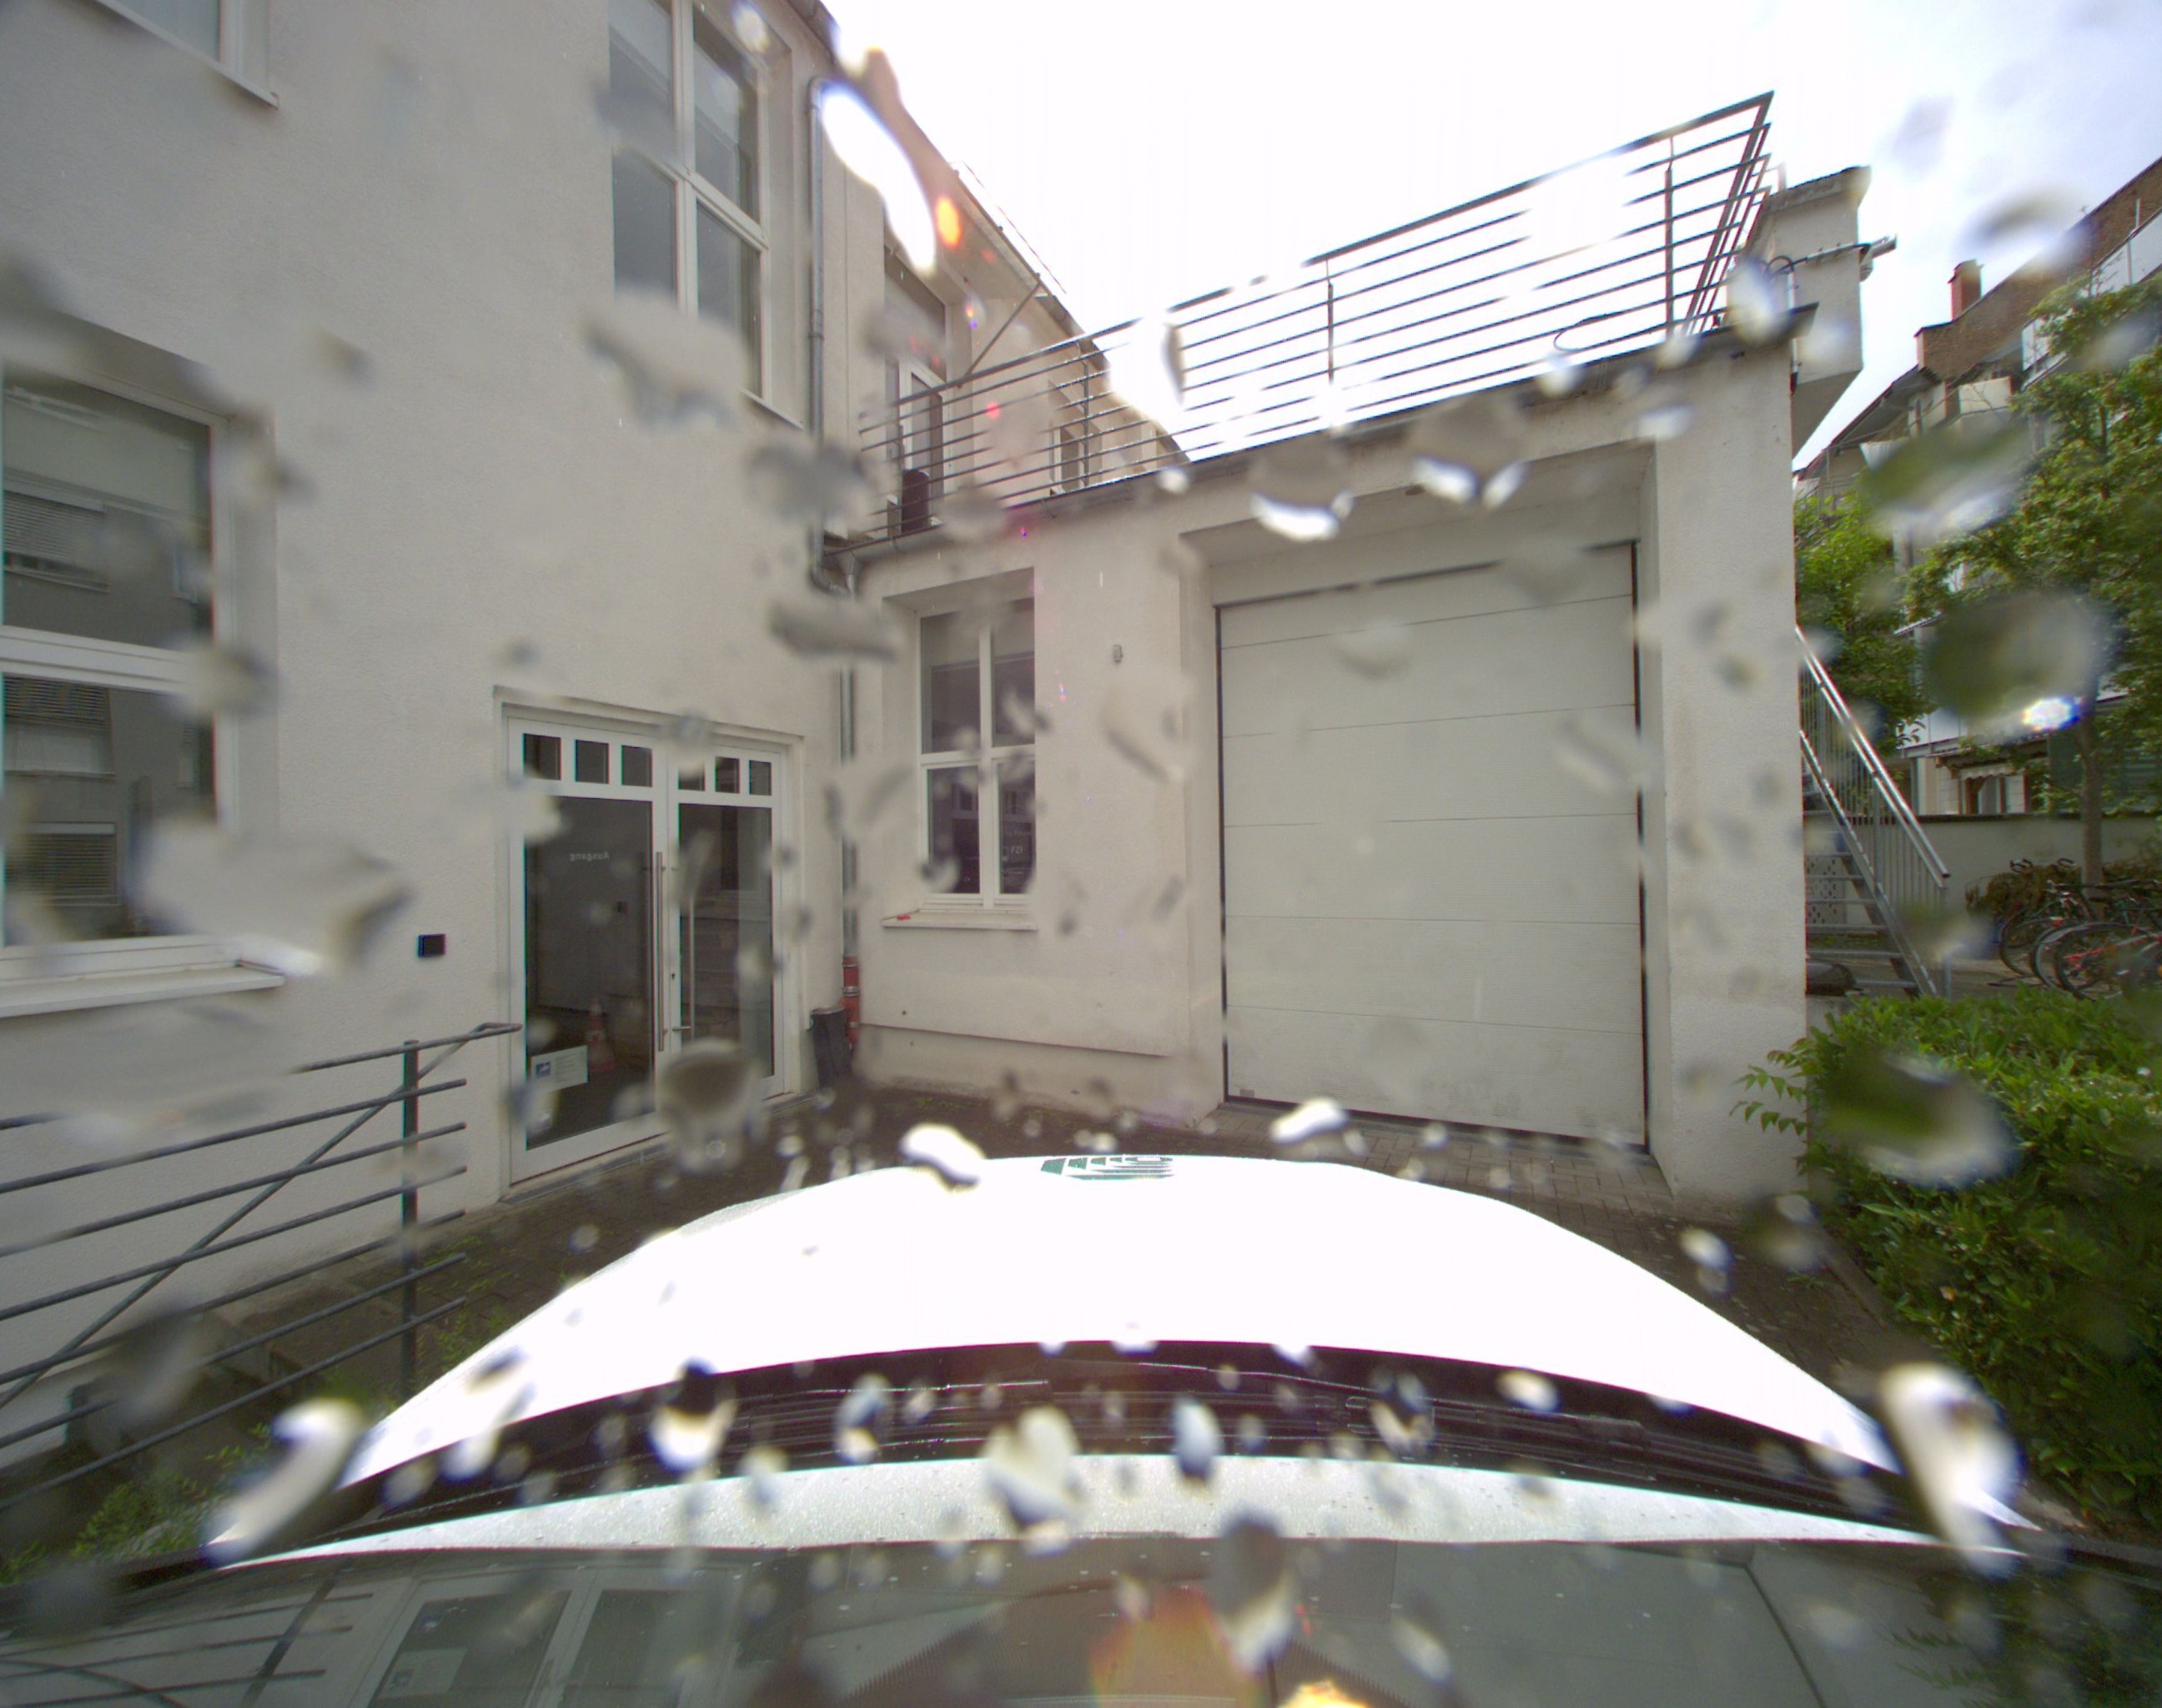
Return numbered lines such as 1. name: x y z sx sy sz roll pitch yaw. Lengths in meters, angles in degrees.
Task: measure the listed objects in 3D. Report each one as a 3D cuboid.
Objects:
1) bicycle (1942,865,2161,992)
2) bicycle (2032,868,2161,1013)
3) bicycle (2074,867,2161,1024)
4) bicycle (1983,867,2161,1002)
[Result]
1. bicycle: 9.926 0.675 7.406 2.818 1.078 0.693 1 1 24
2. bicycle: 9.326 0.685 6.107 2.818 1.078 0.693 1 1 24
3. bicycle: 8.934 0.665 5.486 2.818 1.078 0.693 1 1 24
4. bicycle: 9.628 0.682 6.760 2.818 1.078 0.693 1 1 24
